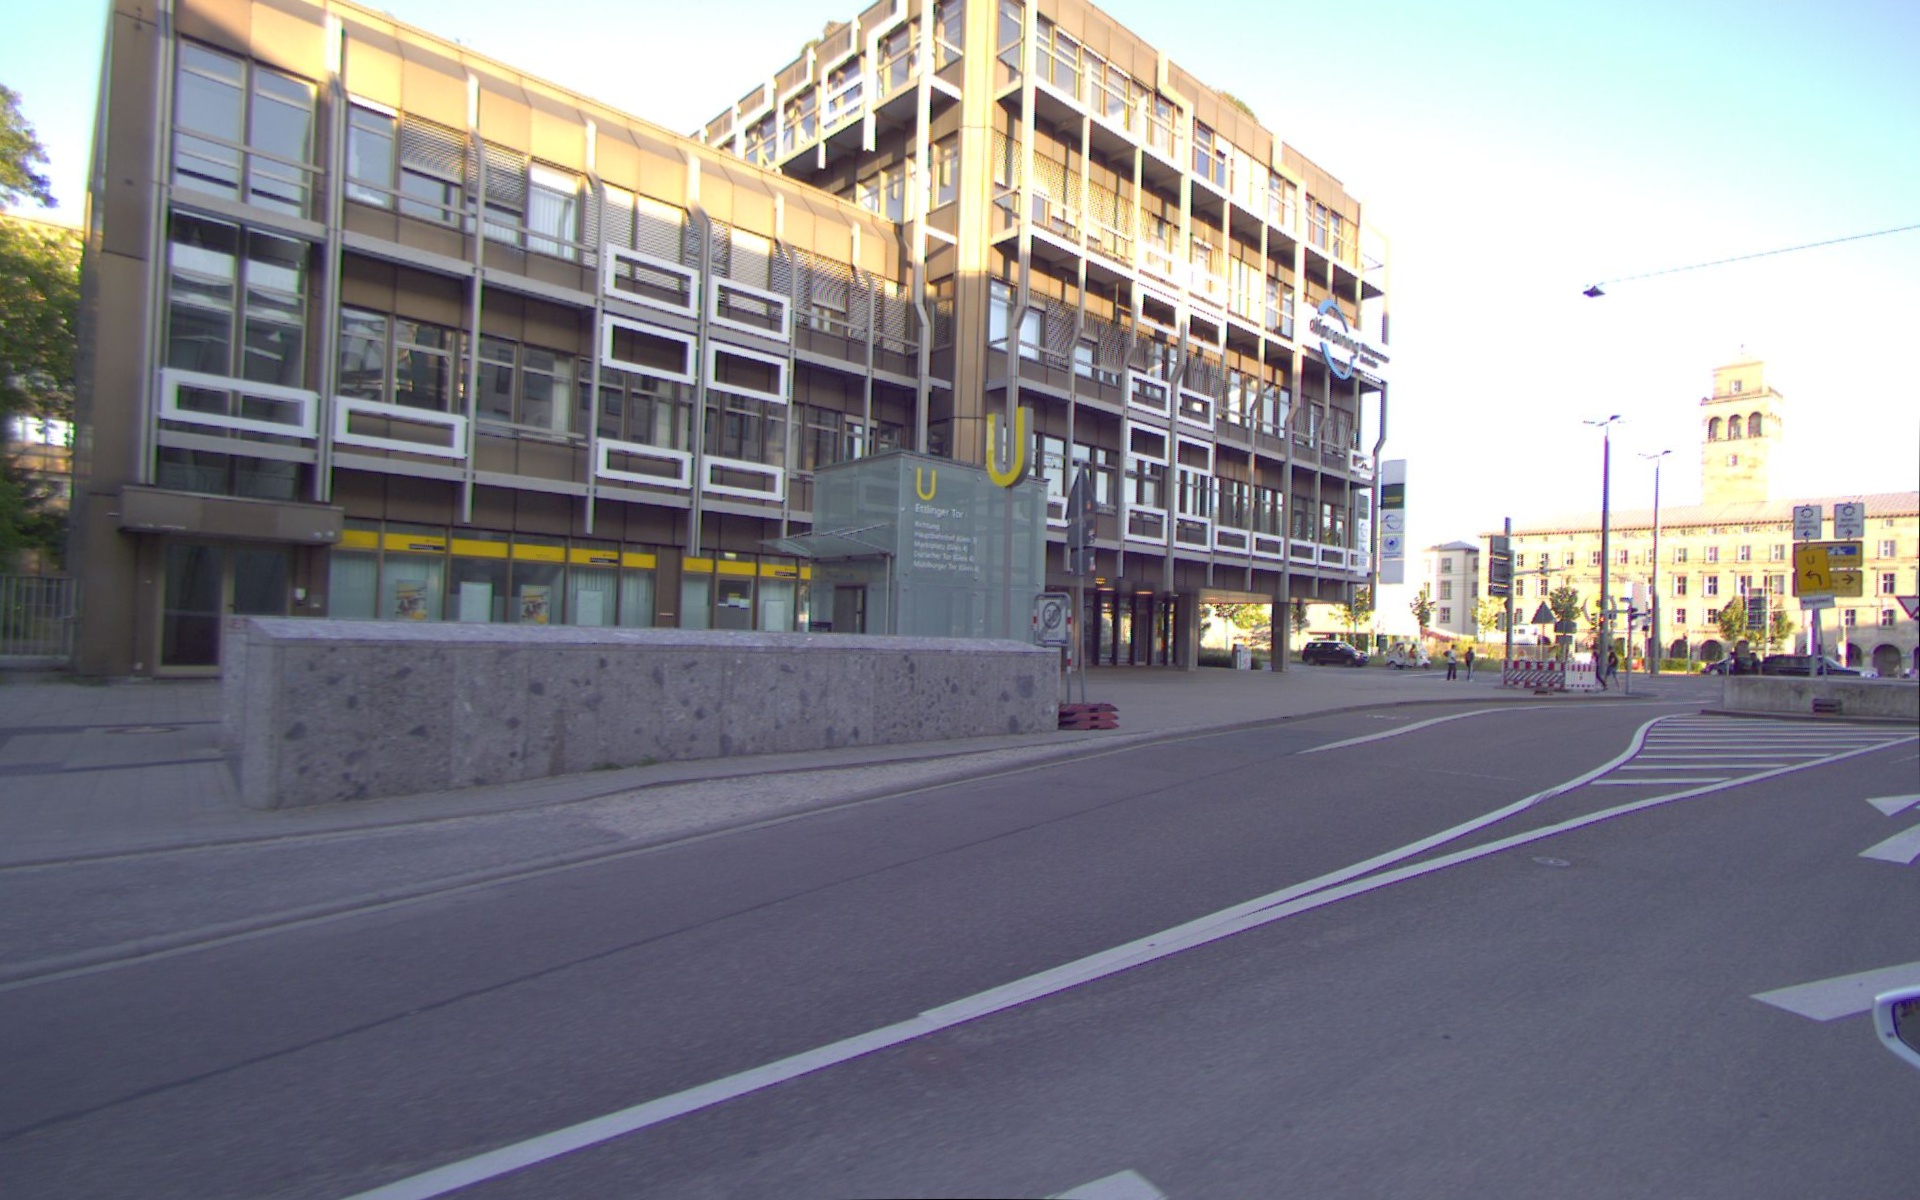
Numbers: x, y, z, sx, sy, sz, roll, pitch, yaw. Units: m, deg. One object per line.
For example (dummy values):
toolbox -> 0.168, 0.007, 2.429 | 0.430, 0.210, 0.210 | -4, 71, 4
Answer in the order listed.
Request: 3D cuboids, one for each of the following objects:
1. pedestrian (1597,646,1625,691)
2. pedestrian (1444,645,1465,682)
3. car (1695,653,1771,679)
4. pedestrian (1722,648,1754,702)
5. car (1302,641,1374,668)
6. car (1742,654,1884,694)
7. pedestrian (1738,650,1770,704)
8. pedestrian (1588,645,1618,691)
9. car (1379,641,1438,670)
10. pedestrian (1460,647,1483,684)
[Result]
pedestrian -> 26.531, 2.803, 40.933 | 0.857, 1.800, 0.732 | 3, -4, -42
pedestrian -> 24.083, 3.102, 48.911 | 0.726, 1.800, 0.864 | -1, -3, 15
car -> 51.288, 4.347, 66.713 | 3.935, 1.514, 1.822 | 0, -2, 36
pedestrian -> 27.055, 2.593, 34.934 | 0.727, 1.800, 0.862 | 2, -1, 30
car -> 24.949, 3.609, 66.312 | 4.136, 1.613, 1.687 | 0, -2, 43
car -> 37.205, 3.191, 43.898 | 2.110, 1.515, 4.425 | 3, -2, -39
pedestrian -> 26.934, 2.603, 34.093 | 0.727, 1.800, 0.862 | 0, -2, 29
pedestrian -> 25.675, 2.700, 40.105 | 0.857, 1.800, 0.732 | 3, -4, -42
car -> 28.113, 3.464, 62.939 | 3.092, 1.707, 1.606 | 0, -2, 38
pedestrian -> 24.625, 3.150, 48.371 | 0.726, 1.800, 0.864 | -1, -3, 14
